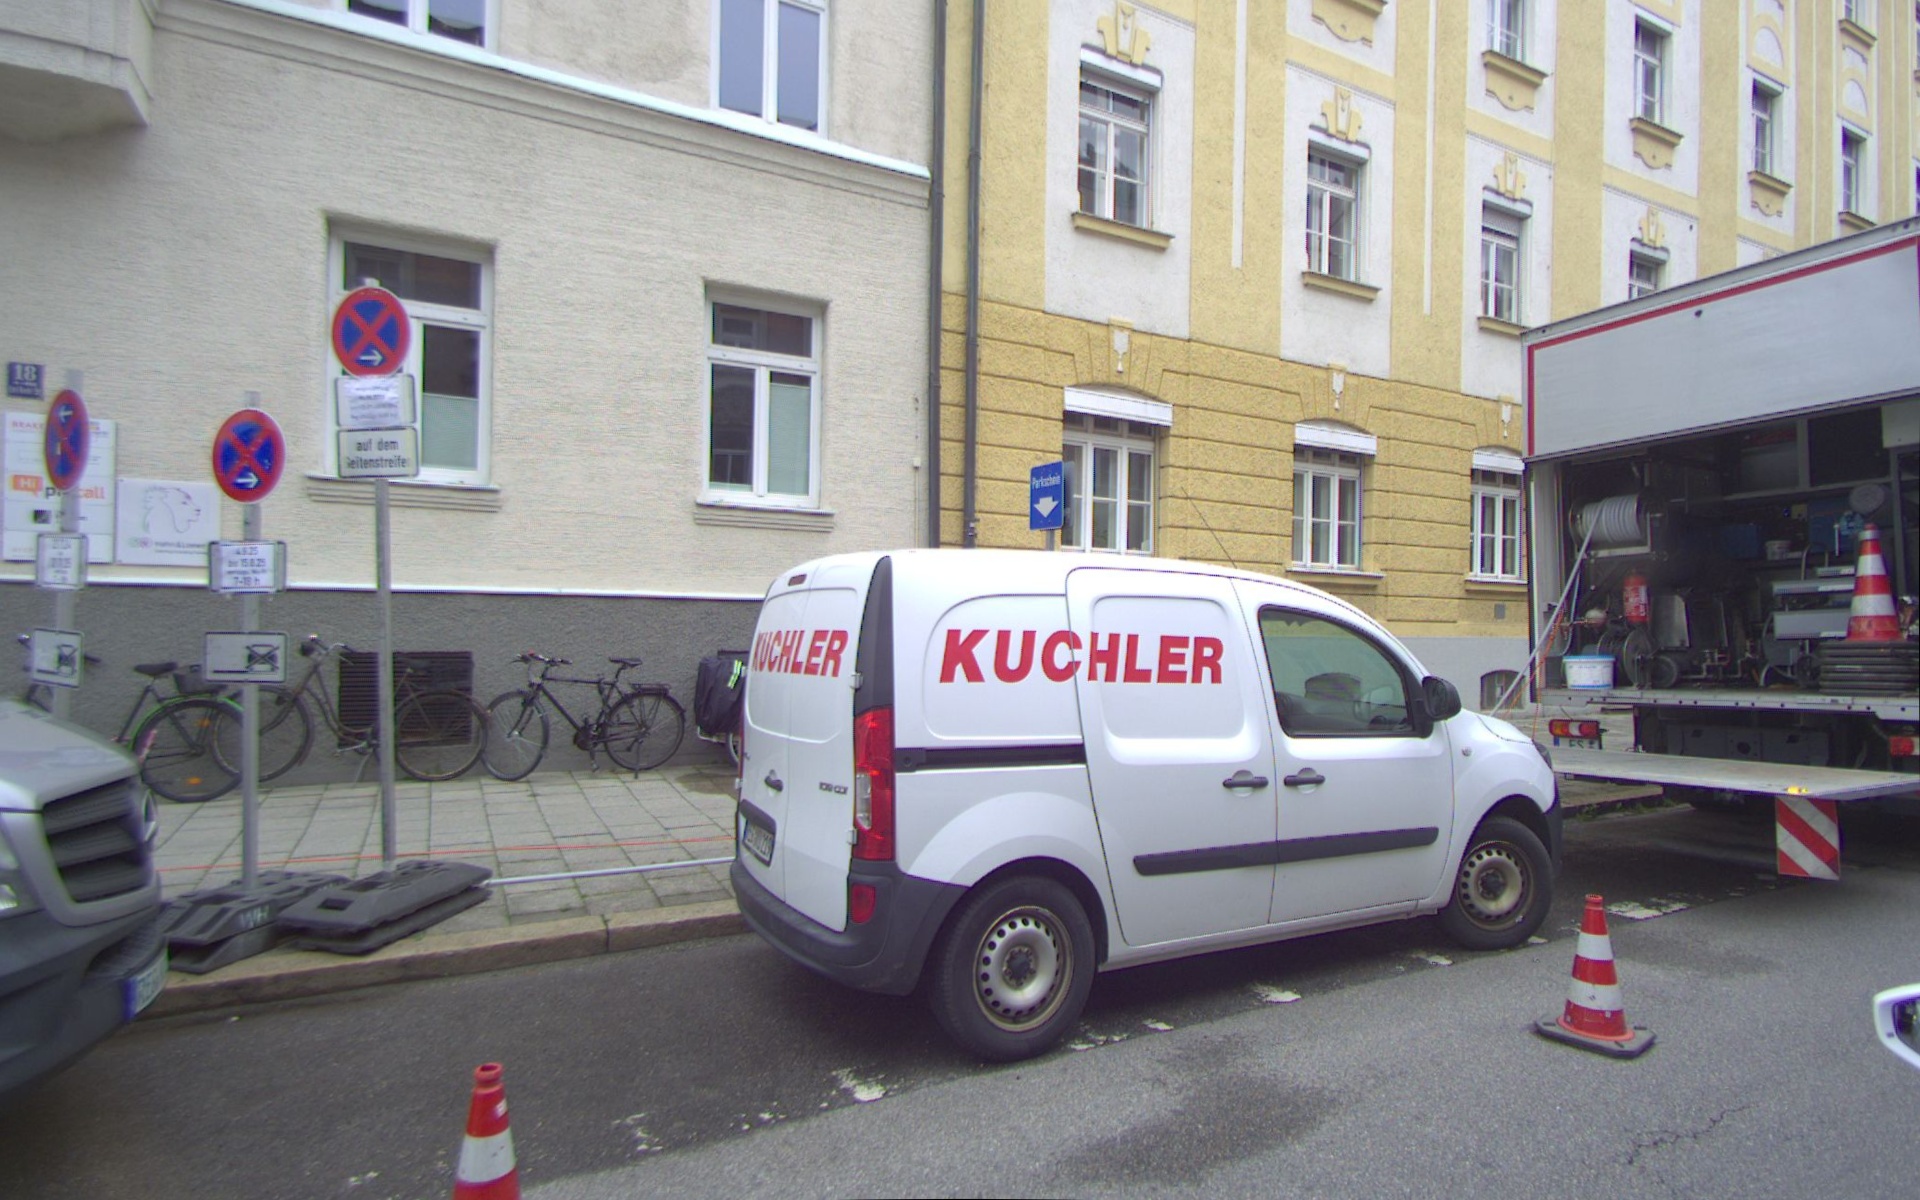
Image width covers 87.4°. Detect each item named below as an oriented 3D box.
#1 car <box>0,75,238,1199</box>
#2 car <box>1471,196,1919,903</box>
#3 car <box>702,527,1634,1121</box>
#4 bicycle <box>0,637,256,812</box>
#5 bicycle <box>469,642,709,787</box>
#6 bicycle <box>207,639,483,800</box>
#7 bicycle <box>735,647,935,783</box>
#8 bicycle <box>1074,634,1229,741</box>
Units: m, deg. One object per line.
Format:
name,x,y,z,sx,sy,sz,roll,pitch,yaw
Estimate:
car,-5.310,0.217,1.320,6.793,2.620,2.048,1,-5,-29
car,8.410,-0.158,8.703,8.617,3.868,2.800,2,-1,-29
car,1.101,0.761,4.858,4.272,1.802,1.756,1,-3,-28
bicycle,-5.919,0.823,6.881,1.721,1.119,0.426,2,-1,-29
bicycle,-3.098,0.929,8.485,1.842,1.119,0.399,2,-1,-30
bicycle,-4.600,0.869,7.632,1.715,1.119,0.426,2,-1,-29
bicycle,-1.091,0.990,9.095,1.848,1.119,0.397,2,-1,-39
bicycle,2.182,0.970,11.383,1.745,1.119,0.604,2,-1,-30
